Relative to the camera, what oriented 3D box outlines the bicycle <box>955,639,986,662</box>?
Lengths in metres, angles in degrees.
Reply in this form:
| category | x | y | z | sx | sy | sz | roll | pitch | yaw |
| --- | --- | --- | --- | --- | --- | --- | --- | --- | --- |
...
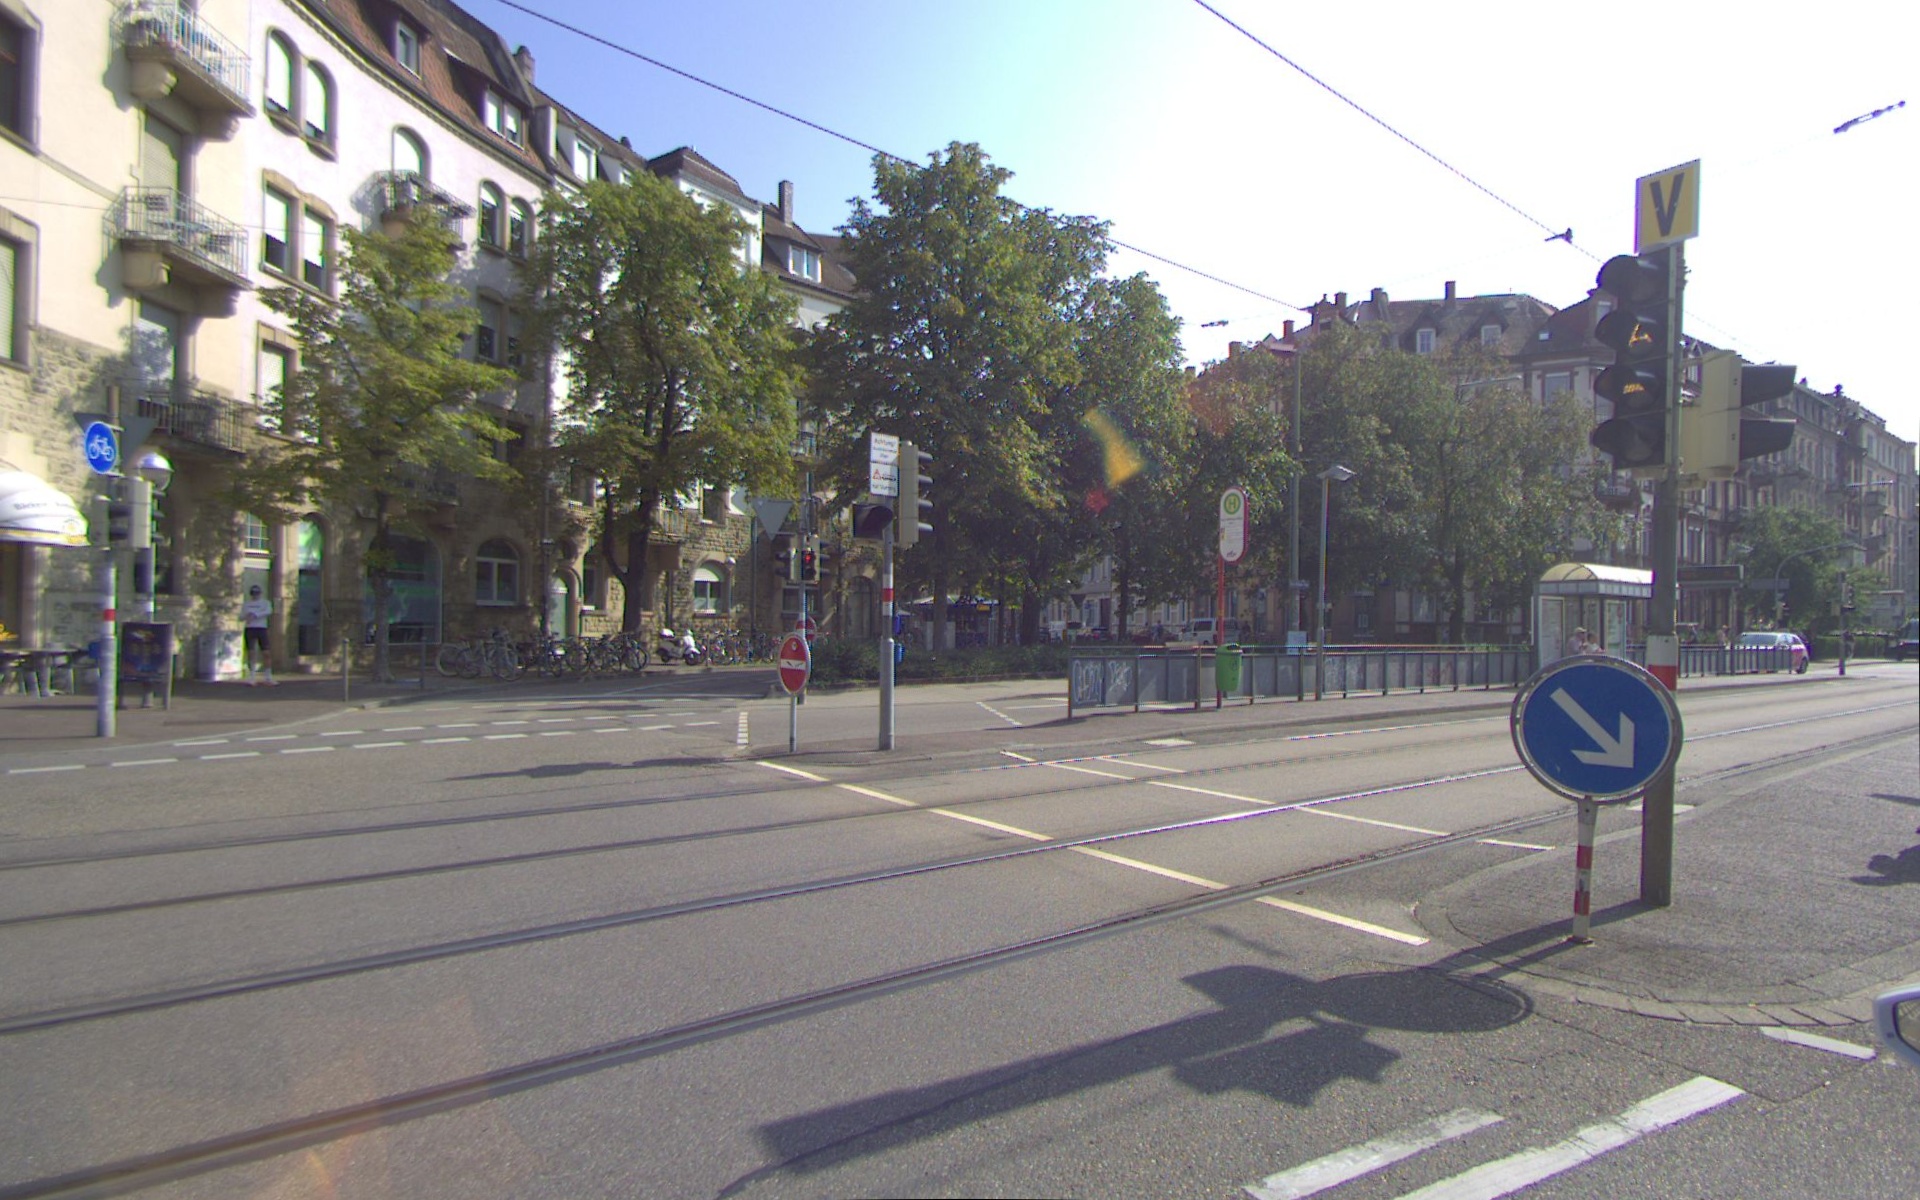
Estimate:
| category | x | y | z | sx | sy | sz | roll | pitch | yaw |
| --- | --- | --- | --- | --- | --- | --- | --- | --- | --- |
| bicycle | 0.458 | 2.229 | 44.524 | 0.598 | 0.991 | 1.757 | 1 | -2 | -29 |

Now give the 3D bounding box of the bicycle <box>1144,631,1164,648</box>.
| category | x | y | z | sx | sy | sz | roll | pitch | yaw |
| --- | --- | --- | --- | --- | --- | --- | --- | --- | --- |
| bicycle | 11.610 | 2.362 | 60.168 | 0.488 | 0.991 | 1.938 | 1 | -1 | -13 |

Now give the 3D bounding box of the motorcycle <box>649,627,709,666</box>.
| category | x | y | z | sx | sy | sz | roll | pitch | yaw |
| --- | --- | --- | --- | --- | --- | --- | --- | --- | --- |
| motorcycle | -9.065 | 1.497 | 32.383 | 1.838 | 1.169 | 0.608 | 1 | -1 | 20 |

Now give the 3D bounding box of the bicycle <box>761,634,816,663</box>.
| category | x | y | z | sx | sy | sz | roll | pitch | yaw |
| --- | --- | --- | --- | --- | --- | --- | --- | --- | --- |
| bicycle | -6.285 | 1.769 | 36.885 | 1.863 | 0.993 | 0.686 | 1 | -1 | 20 |

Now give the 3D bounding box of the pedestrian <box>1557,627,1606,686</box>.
| category | x | y | z | sx | sy | sz | roll | pitch | yaw |
| --- | --- | --- | --- | --- | --- | --- | --- | --- | --- |
| pedestrian | 14.982 | 1.356 | 24.201 | 0.770 | 1.377 | 0.820 | 2 | -2 | -41 |

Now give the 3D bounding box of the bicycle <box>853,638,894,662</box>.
| category | x | y | z | sx | sy | sz | roll | pitch | yaw |
| --- | --- | --- | --- | --- | --- | --- | --- | --- | --- |
| bicycle | -3.644 | 2.099 | 42.393 | 1.739 | 0.991 | 0.519 | 0 | -1 | 32 |

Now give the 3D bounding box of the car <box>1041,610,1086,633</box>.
| category | x | y | z | sx | sy | sz | roll | pitch | yaw |
| --- | --- | --- | --- | --- | --- | --- | --- | --- | --- |
| car | 8.428 | 1.741 | 82.090 | 1.972 | 1.852 | 3.977 | 1 | -1 | -24 |

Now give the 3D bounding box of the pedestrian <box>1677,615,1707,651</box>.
| category | x | y | z | sx | sy | sz | roll | pitch | yaw |
| --- | --- | --- | --- | --- | --- | --- | --- | --- | --- |
| pedestrian | 32.562 | 1.471 | 44.675 | 0.876 | 1.588 | 0.776 | 0 | -1 | 17 |

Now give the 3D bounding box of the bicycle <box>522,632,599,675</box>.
| category | x | y | z | sx | sy | sz | roll | pitch | yaw |
| --- | --- | --- | --- | --- | --- | --- | --- | --- | --- |
| bicycle | -10.395 | 1.394 | 26.140 | 1.840 | 1.047 | 0.570 | 1 | -1 | 15 |

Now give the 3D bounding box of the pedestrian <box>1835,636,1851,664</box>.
| category | x | y | z | sx | sy | sz | roll | pitch | yaw |
| --- | --- | --- | --- | --- | --- | --- | --- | --- | --- |
| pedestrian | 54.771 | 3.099 | 62.308 | 0.742 | 1.754 | 0.767 | 0 | -2 | 44 |

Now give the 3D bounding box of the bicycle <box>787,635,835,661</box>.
| category | x | y | z | sx | sy | sz | roll | pitch | yaw |
| --- | --- | --- | --- | --- | --- | --- | --- | --- | --- |
| bicycle | -5.693 | 1.827 | 38.334 | 1.847 | 0.947 | 0.636 | 0 | -2 | 36 |

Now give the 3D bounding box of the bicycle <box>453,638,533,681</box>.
| category | x | y | z | sx | sy | sz | roll | pitch | yaw |
| --- | --- | --- | --- | --- | --- | --- | --- | --- | --- |
| bicycle | -10.763 | 1.367 | 23.185 | 1.579 | 0.932 | 0.478 | 2 | -1 | -7 |

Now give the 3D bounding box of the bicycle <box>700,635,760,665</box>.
| category | x | y | z | sx | sy | sz | roll | pitch | yaw |
| --- | --- | --- | --- | --- | --- | --- | --- | --- | --- |
| bicycle | -7.893 | 1.714 | 34.433 | 1.874 | 0.947 | 0.738 | 1 | -1 | 20 |

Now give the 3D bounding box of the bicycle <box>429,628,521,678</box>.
| category | x | y | z | sx | sy | sz | roll | pitch | yaw |
| --- | --- | --- | --- | --- | --- | --- | --- | --- | --- |
| bicycle | -11.454 | 1.251 | 23.772 | 1.848 | 1.127 | 0.568 | 2 | -1 | -16 |

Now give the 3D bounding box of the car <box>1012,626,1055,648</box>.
| category | x | y | z | sx | sy | sz | roll | pitch | yaw |
| --- | --- | --- | --- | --- | --- | --- | --- | --- | --- |
| car | 5.634 | 2.846 | 77.380 | 1.967 | 1.590 | 4.323 | 1 | -1 | -15 |

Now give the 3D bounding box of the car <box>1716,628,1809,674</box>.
| category | x | y | z | sx | sy | sz | roll | pitch | yaw |
| --- | --- | --- | --- | --- | --- | --- | --- | --- | --- |
| car | 31.154 | 1.962 | 38.978 | 3.604 | 1.675 | 1.791 | 2 | -2 | -33 |

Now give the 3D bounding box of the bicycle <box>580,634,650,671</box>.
| category | x | y | z | sx | sy | sz | roll | pitch | yaw |
| --- | --- | --- | --- | --- | --- | --- | --- | --- | --- |
| bicycle | -9.860 | 1.491 | 28.735 | 1.768 | 0.996 | 0.661 | 1 | -1 | 13 |

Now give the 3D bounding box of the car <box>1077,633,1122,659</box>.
| category | x | y | z | sx | sy | sz | roll | pitch | yaw |
| --- | --- | --- | --- | --- | --- | --- | --- | --- | --- |
| car | 10.438 | 3.406 | 75.478 | 1.967 | 1.852 | 3.988 | 1 | -1 | -15 |

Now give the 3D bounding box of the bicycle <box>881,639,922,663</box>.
| category | x | y | z | sx | sy | sz | roll | pitch | yaw |
| --- | --- | --- | --- | --- | --- | --- | --- | --- | --- |
| bicycle | -2.441 | 2.124 | 41.935 | 1.754 | 0.991 | 0.421 | 2 | -2 | -38 |

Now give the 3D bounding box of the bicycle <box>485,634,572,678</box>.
| category | x | y | z | sx | sy | sz | roll | pitch | yaw |
| --- | --- | --- | --- | --- | --- | --- | --- | --- | --- |
| bicycle | -10.577 | 1.362 | 24.655 | 1.841 | 1.017 | 0.570 | 1 | -1 | -1 |

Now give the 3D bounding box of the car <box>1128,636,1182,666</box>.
| category | x | y | z | sx | sy | sz | roll | pitch | yaw |
| --- | --- | --- | --- | --- | --- | --- | --- | --- | --- |
| car | 12.857 | 3.364 | 66.311 | 1.967 | 1.852 | 3.988 | 1 | -1 | -15 |

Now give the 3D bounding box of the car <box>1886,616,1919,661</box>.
| category | x | y | z | sx | sy | sz | roll | pitch | yaw |
| --- | --- | --- | --- | --- | --- | --- | --- | --- | --- |
| car | 59.929 | 2.396 | 62.479 | 5.051 | 2.697 | 2.334 | 2 | -2 | -33 |

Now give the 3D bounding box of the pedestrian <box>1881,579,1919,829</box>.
| category | x | y | z | sx | sy | sz | roll | pitch | yaw |
| --- | --- | --- | --- | --- | --- | --- | --- | --- | --- |
| pedestrian | 7.098 | 0.735 | 6.956 | 0.733 | 1.748 | 0.701 | 0 | 2 | -4 |

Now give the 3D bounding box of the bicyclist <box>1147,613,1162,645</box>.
| category | x | y | z | sx | sy | sz | roll | pitch | yaw |
| --- | --- | --- | --- | --- | --- | --- | --- | --- | --- |
| bicyclist | 11.639 | 1.732 | 60.122 | 0.484 | 1.882 | 0.987 | 1 | -1 | -13 |

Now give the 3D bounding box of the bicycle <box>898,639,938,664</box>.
| category | x | y | z | sx | sy | sz | roll | pitch | yaw |
| --- | --- | --- | --- | --- | --- | --- | --- | --- | --- |
| bicycle | -1.765 | 2.143 | 41.992 | 1.754 | 0.991 | 0.421 | 2 | -2 | -38 |

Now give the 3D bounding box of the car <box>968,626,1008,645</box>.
| category | x | y | z | sx | sy | sz | roll | pitch | yaw |
| --- | --- | --- | --- | --- | --- | --- | --- | --- | --- |
| car | 2.431 | 3.122 | 88.163 | 1.970 | 1.590 | 4.316 | 1 | -2 | -21 |

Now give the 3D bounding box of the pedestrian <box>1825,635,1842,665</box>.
| category | x | y | z | sx | sy | sz | roll | pitch | yaw |
| --- | --- | --- | --- | --- | --- | --- | --- | --- | --- |
| pedestrian | 52.367 | 3.010 | 60.194 | 0.742 | 1.754 | 0.767 | 0 | -2 | 44 |

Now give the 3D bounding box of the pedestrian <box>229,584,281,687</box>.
| category | x | y | z | sx | sy | sz | roll | pitch | yaw |
| --- | --- | --- | --- | --- | --- | --- | --- | --- | --- |
| pedestrian | -13.499 | 0.673 | 19.232 | 0.769 | 1.918 | 0.885 | 2 | -1 | -36 |

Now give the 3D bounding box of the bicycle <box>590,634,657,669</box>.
| category | x | y | z | sx | sy | sz | roll | pitch | yaw |
| --- | --- | --- | --- | --- | --- | --- | --- | --- | --- |
| bicycle | -9.959 | 1.518 | 29.744 | 1.768 | 0.989 | 0.661 | 1 | -1 | 13 |

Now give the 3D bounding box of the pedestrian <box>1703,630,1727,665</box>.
| category | x | y | z | sx | sy | sz | roll | pitch | yaw |
| --- | --- | --- | --- | --- | --- | --- | --- | --- | --- |
| pedestrian | 38.591 | 2.409 | 51.328 | 0.756 | 1.754 | 0.753 | 0 | -1 | 15 |

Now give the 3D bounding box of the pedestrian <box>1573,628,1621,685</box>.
| category | x | y | z | sx | sy | sz | roll | pitch | yaw |
| --- | --- | --- | --- | --- | --- | --- | --- | --- | --- |
| pedestrian | 15.735 | 1.384 | 24.809 | 0.770 | 1.377 | 0.820 | 2 | -2 | -41 |

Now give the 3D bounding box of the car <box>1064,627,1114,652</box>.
| category | x | y | z | sx | sy | sz | roll | pitch | yaw |
| --- | --- | --- | --- | --- | --- | --- | --- | --- | --- |
| car | 8.822 | 2.675 | 68.980 | 1.966 | 1.590 | 4.324 | 1 | -1 | -15 |

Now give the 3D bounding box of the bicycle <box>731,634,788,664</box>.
| category | x | y | z | sx | sy | sz | roll | pitch | yaw |
| --- | --- | --- | --- | --- | --- | --- | --- | --- | --- |
| bicycle | -7.148 | 1.733 | 35.776 | 1.863 | 0.993 | 0.686 | 1 | -1 | 20 |

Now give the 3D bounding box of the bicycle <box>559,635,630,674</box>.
| category | x | y | z | sx | sy | sz | roll | pitch | yaw |
| --- | --- | --- | --- | --- | --- | --- | --- | --- | --- |
| bicycle | -10.015 | 1.484 | 27.530 | 1.768 | 0.997 | 0.570 | 1 | -1 | 13 |

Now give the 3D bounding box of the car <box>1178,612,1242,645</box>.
| category | x | y | z | sx | sy | sz | roll | pitch | yaw |
| --- | --- | --- | --- | --- | --- | --- | --- | --- | --- |
| car | 14.637 | 1.643 | 59.058 | 1.967 | 1.852 | 3.988 | 1 | -1 | -15 |

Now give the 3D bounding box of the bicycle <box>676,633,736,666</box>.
| category | x | y | z | sx | sy | sz | roll | pitch | yaw |
| --- | --- | --- | --- | --- | --- | --- | --- | --- | --- |
| bicycle | -8.422 | 1.626 | 33.269 | 1.841 | 1.041 | 0.664 | 1 | -1 | 20 |
